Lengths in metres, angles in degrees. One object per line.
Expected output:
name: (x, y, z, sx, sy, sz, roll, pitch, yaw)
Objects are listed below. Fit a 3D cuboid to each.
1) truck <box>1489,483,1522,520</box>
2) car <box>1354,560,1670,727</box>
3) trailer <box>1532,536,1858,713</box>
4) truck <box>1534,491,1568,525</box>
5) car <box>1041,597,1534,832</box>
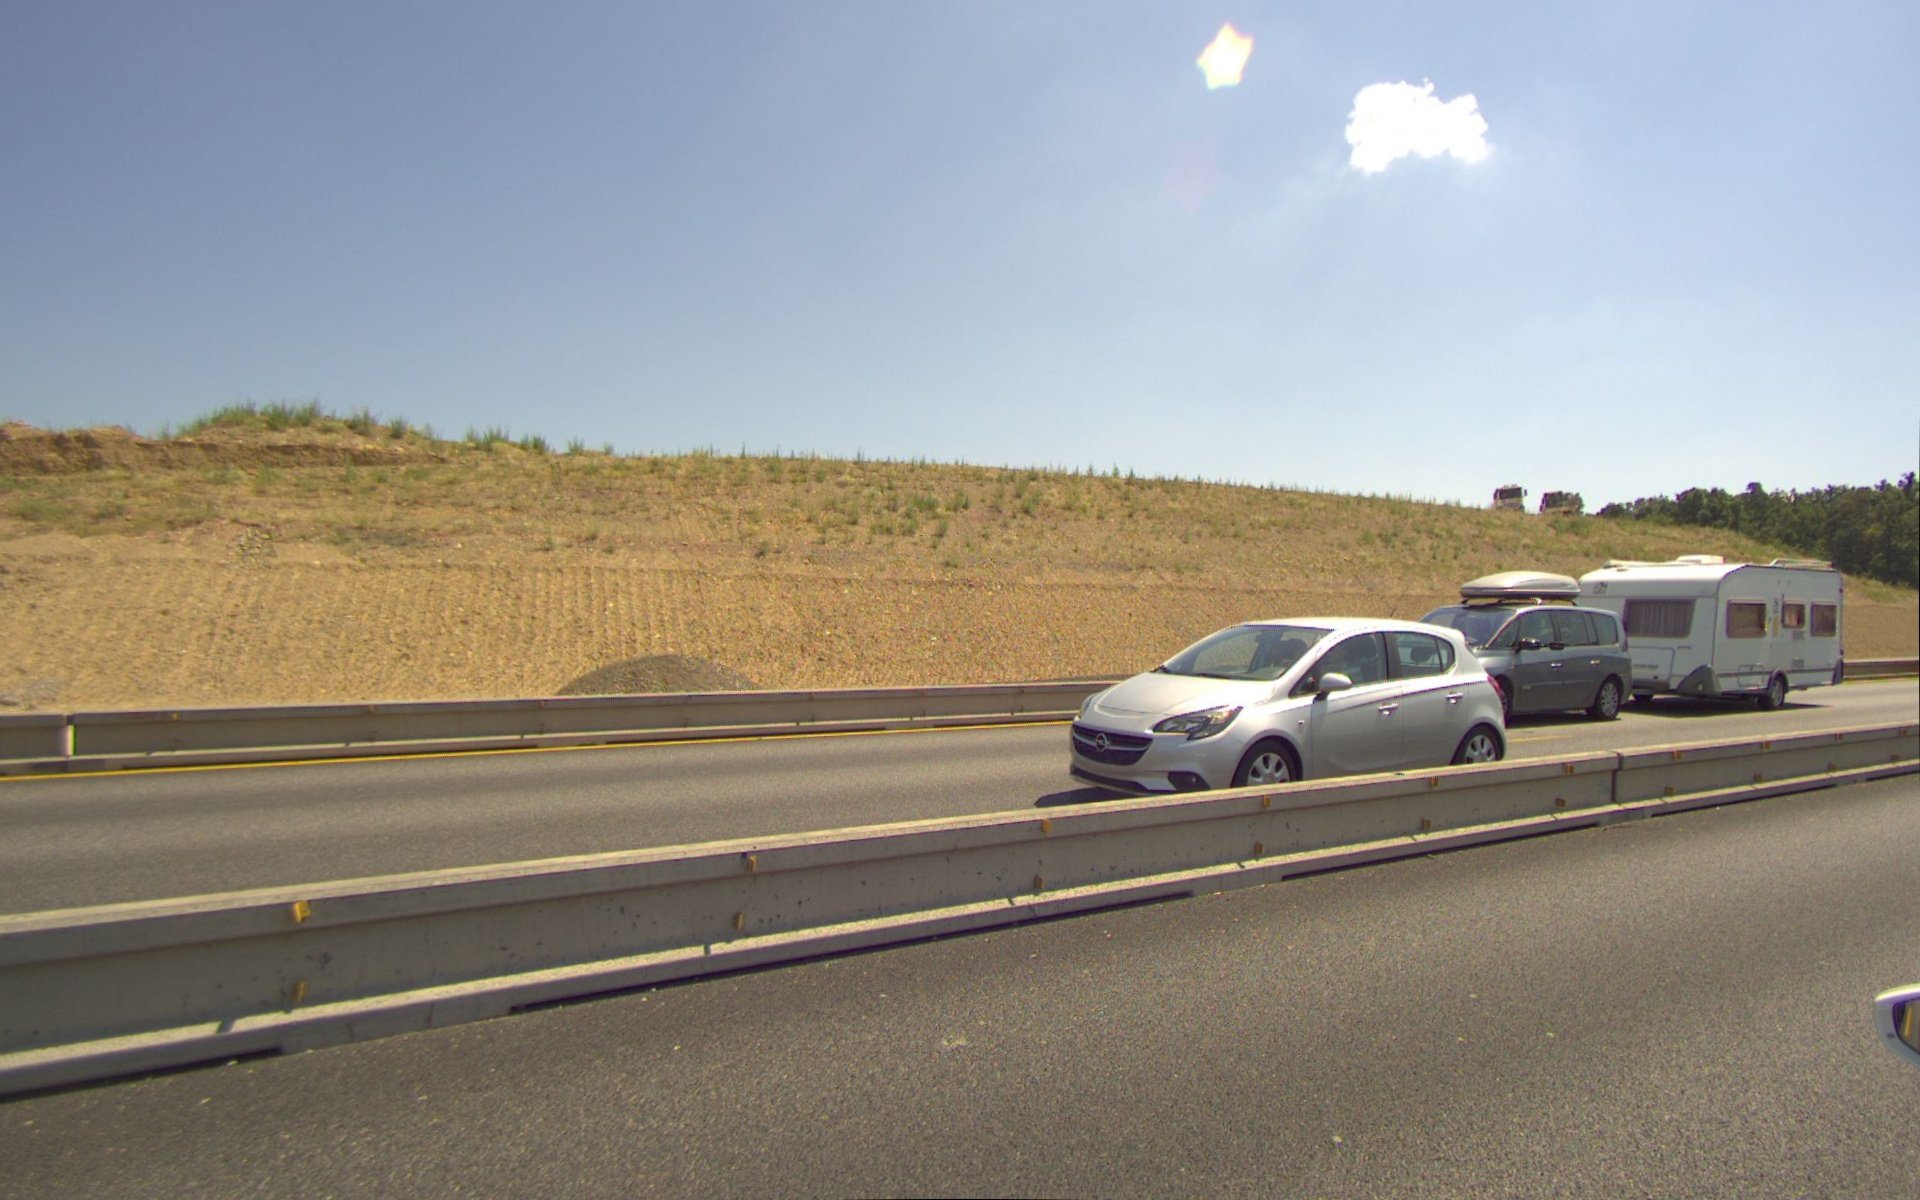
truck: (57.555, -10.331, 106.095, 2.317, 2.937, 8.361, 2, 0, 25)
car: (8.411, 0.634, 15.211, 4.807, 2.184, 1.984, 2, -1, -30)
trailer: (13.390, 0.465, 18.146, 6.677, 2.722, 2.300, 1, -2, -30)
truck: (64.340, -9.920, 109.453, 2.259, 2.785, 8.900, 2, 0, 25)
car: (2.774, 0.809, 8.308, 3.930, 1.522, 1.680, 2, 0, -30)
